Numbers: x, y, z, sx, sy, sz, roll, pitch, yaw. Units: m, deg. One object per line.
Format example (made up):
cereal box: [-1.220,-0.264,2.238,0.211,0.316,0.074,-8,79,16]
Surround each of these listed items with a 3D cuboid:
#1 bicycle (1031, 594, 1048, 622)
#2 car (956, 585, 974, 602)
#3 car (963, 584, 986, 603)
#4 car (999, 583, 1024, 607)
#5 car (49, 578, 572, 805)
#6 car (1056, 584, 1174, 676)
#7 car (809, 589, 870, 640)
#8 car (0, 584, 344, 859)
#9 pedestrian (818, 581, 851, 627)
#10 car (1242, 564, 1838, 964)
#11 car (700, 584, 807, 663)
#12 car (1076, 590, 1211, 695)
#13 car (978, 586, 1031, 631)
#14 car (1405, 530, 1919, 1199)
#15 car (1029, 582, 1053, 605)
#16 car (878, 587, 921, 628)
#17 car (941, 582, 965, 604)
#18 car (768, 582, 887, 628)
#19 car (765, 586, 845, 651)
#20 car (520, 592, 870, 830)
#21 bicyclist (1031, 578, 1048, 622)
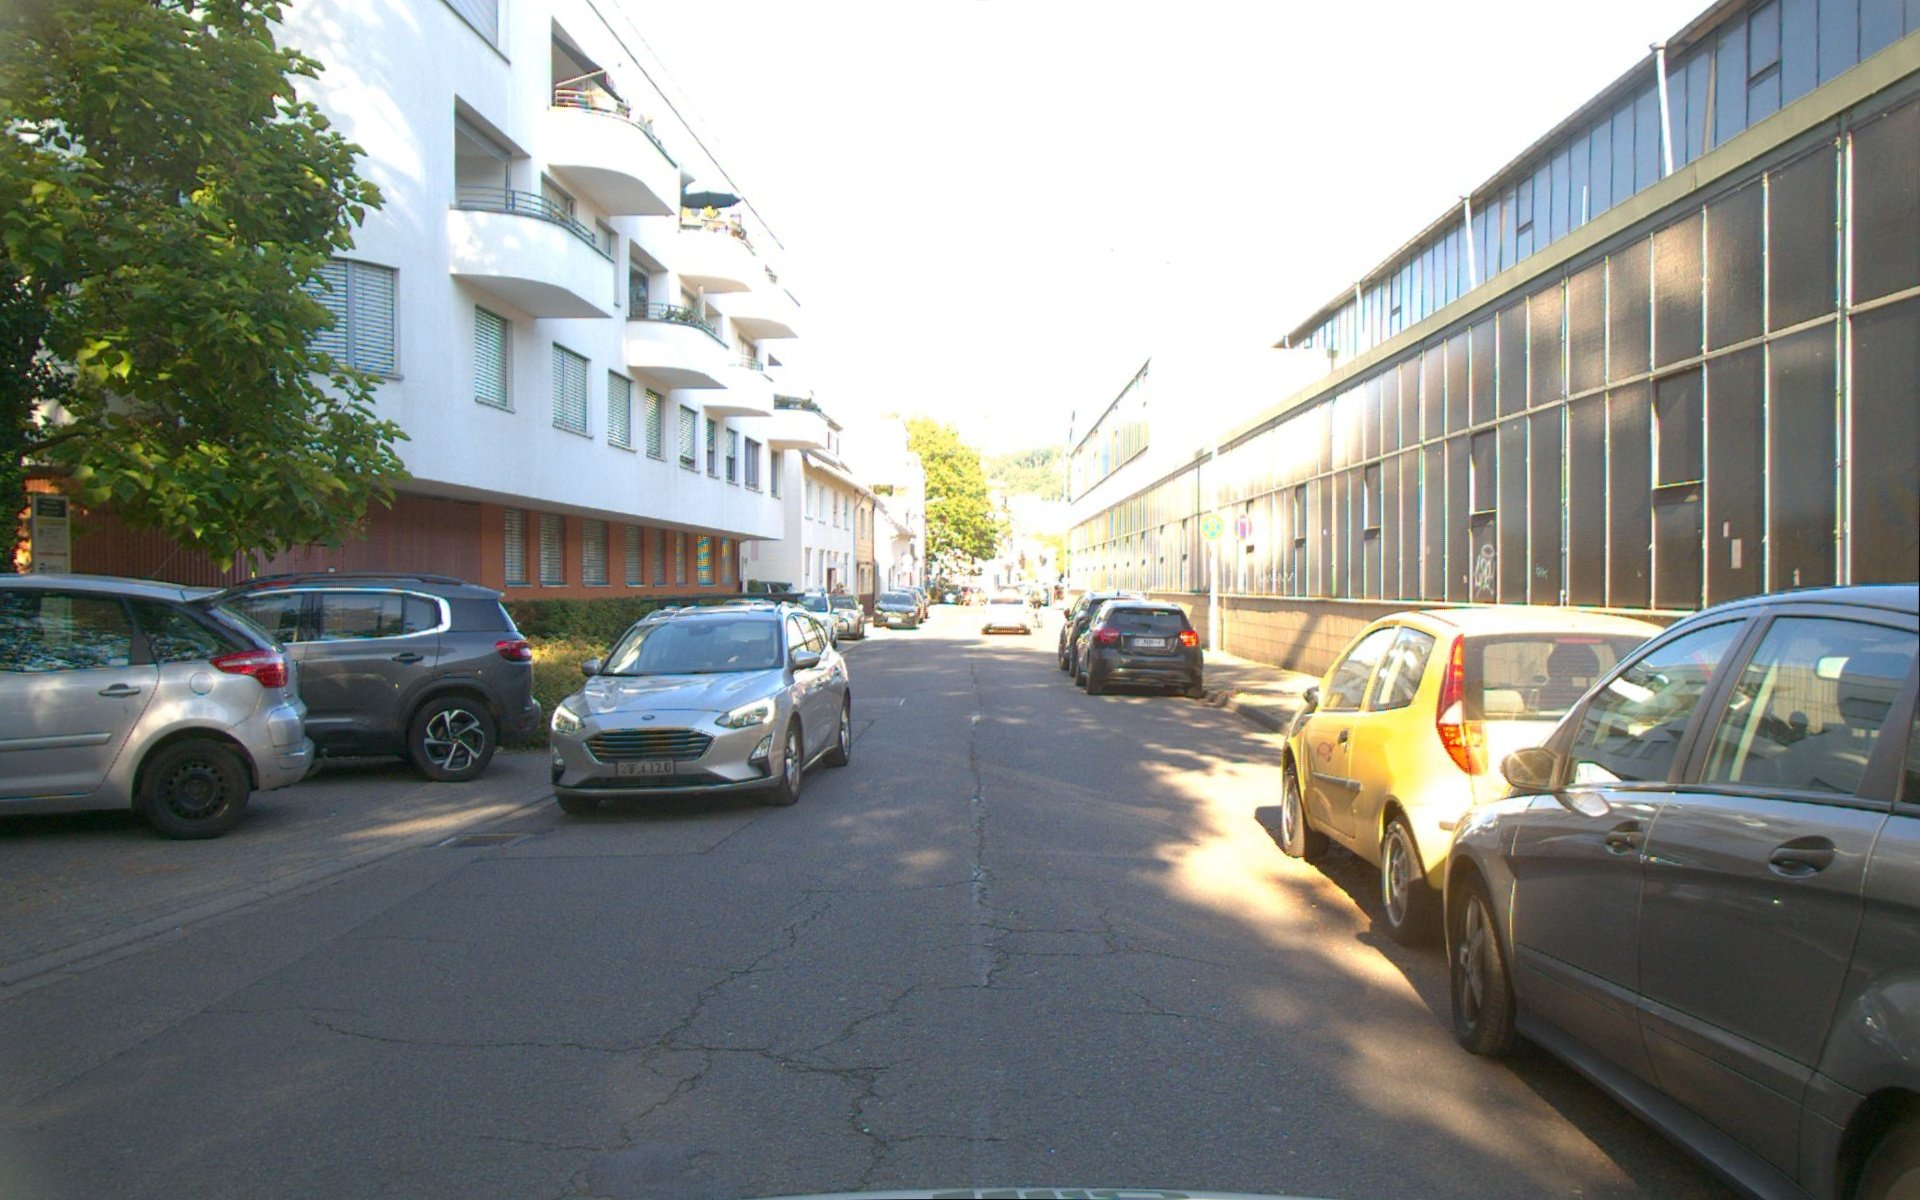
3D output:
bicycle: [3.345,0.324,69.596,0.684,1.150,2.403,1,0,3]
car: [0.491,-0.681,159.627,1.669,1.603,3.915,0,1,1]
car: [1.149,-0.501,132.325,1.804,1.517,4.144,1,0,1]
car: [4.000,-0.418,129.258,1.815,1.822,4.607,0,1,0]
car: [-5.427,0.697,13.993,3.901,1.691,1.685,1,0,-28]
car: [2.935,0.545,32.075,1.770,1.615,4.404,2,0,-1]
car: [-3.917,0.450,54.241,1.633,1.562,3.857,2,0,0]
car: [-6.247,0.735,10.821,4.071,1.669,1.764,1,0,-24]
pedestrian: [-5.196,0.166,68.589,0.844,1.850,1.131,3,1,25]
car: [2.780,0.691,8.930,1.715,1.663,4.000,1,0,-2]
car: [-4.087,0.448,33.255,1.640,1.458,3.770,2,0,0]
car: [2.898,0.632,26.929,1.714,1.517,4.622,2,0,1]
car: [1.560,0.299,58.854,1.804,1.517,4.144,1,0,0]
car: [2.622,0.713,4.435,1.714,1.663,4.309,1,0,0]
car: [6.019,-0.481,123.648,1.596,1.614,4.070,-3,0,1]
car: [-2.484,0.310,67.367,1.650,1.562,4.333,2,0,-2]
car: [-0.553,-0.581,140.991,1.814,1.822,4.609,0,1,3]
car: [-4.871,0.177,61.073,4.233,1.562,1.689,2,0,-1]
car: [-4.143,0.466,44.820,1.820,1.615,4.619,2,0,-2]
car: [-1.955,0.754,13.698,1.860,1.563,4.623,-2,0,3]
bicyclist: [3.353,0.014,69.577,0.684,1.821,1.041,1,0,2]
